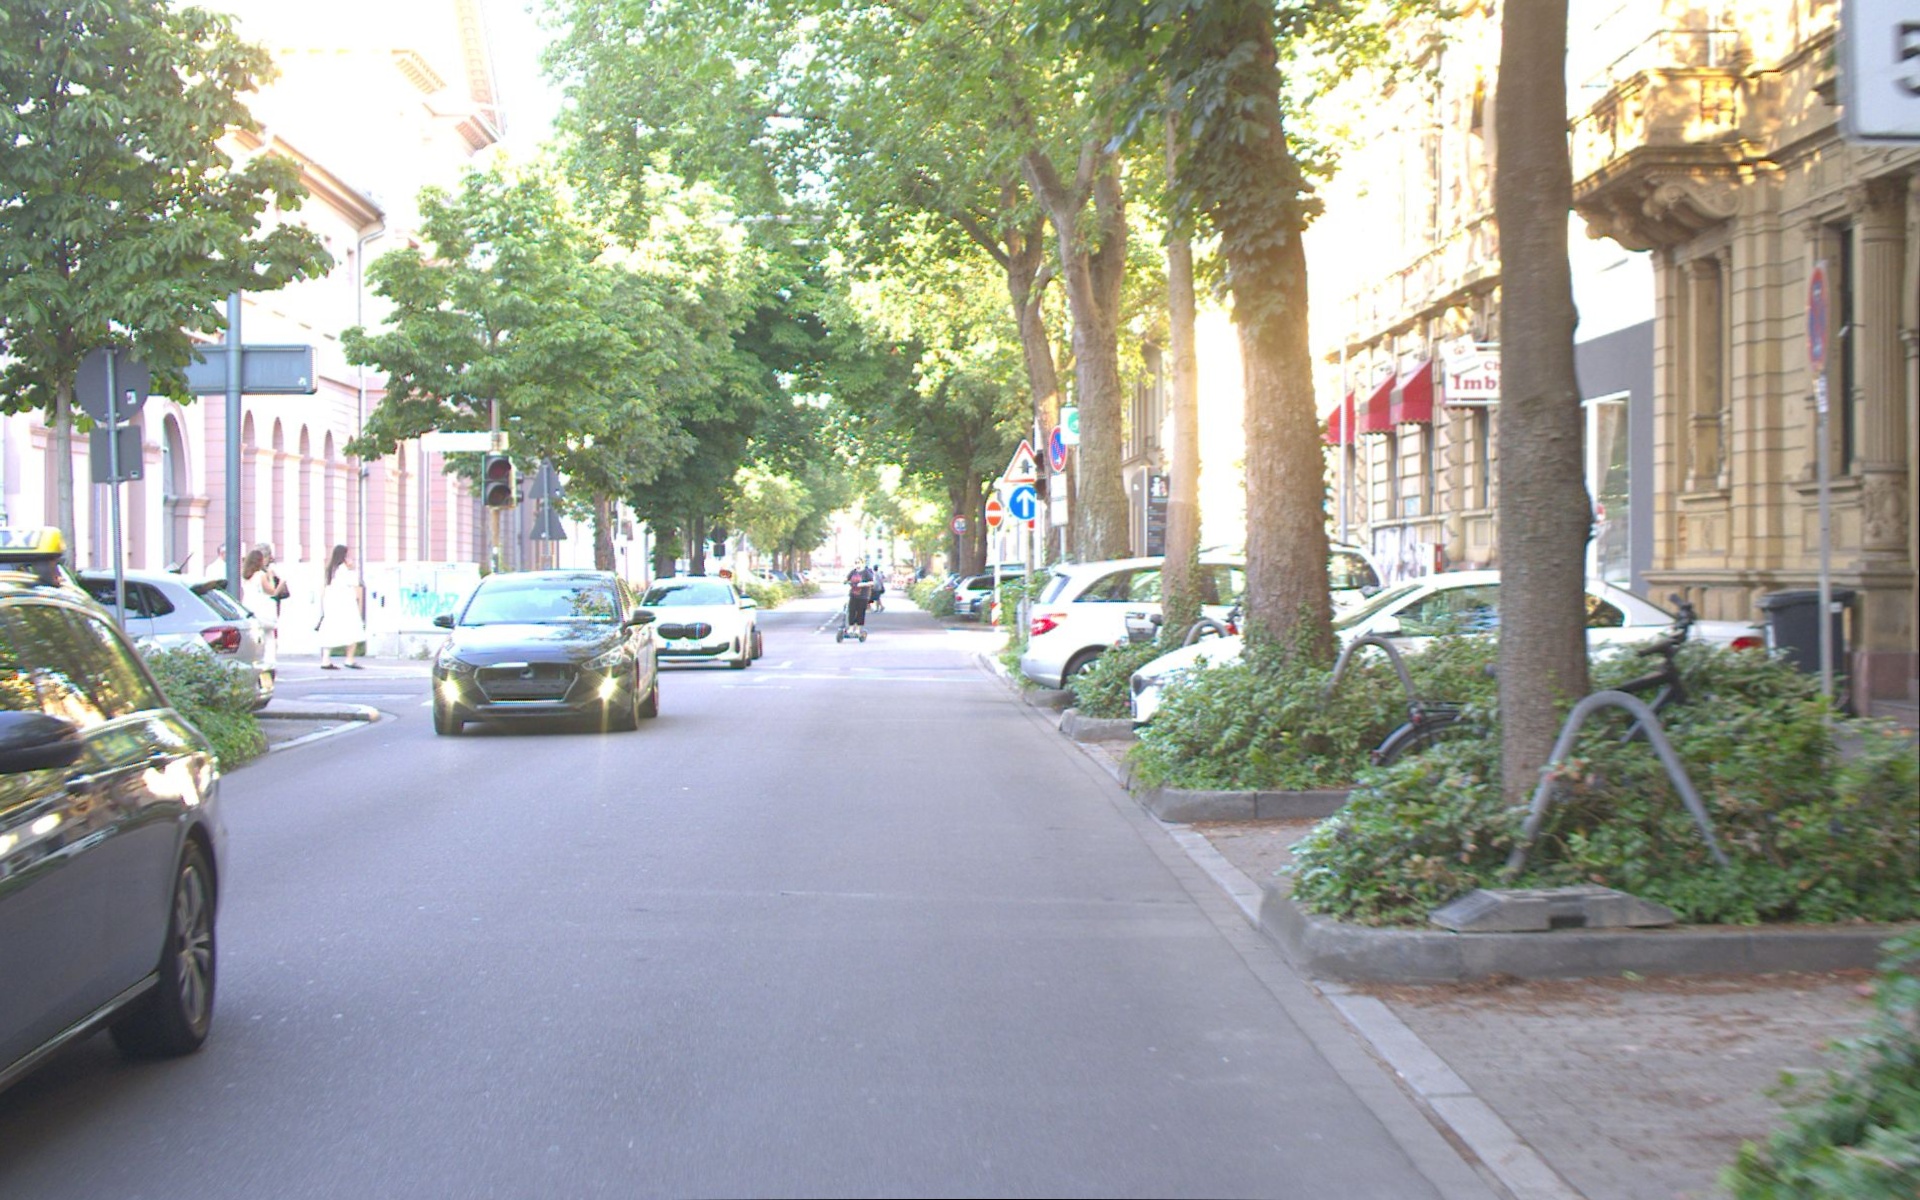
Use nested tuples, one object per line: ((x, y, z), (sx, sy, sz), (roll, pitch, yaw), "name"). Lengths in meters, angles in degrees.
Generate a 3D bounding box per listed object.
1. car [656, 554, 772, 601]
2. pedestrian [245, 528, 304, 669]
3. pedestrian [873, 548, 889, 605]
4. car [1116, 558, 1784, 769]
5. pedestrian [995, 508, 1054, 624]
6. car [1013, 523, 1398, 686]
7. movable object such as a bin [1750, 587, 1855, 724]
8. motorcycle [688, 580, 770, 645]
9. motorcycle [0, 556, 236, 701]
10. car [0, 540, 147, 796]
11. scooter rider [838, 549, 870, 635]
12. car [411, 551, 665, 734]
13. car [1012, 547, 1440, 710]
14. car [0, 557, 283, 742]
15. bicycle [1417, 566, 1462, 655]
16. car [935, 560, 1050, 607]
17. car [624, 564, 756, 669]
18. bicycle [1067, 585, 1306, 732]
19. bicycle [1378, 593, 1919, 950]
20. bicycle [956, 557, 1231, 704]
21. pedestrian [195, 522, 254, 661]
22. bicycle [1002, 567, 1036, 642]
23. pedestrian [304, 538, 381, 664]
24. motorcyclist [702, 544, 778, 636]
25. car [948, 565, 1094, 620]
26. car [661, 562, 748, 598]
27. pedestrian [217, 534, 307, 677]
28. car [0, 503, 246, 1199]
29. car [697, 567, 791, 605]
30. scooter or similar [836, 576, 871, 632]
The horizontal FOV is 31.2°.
((-11.084, -1.011, 155.129), (5.064, 2.076, 2.263), (-1, 1, -1), "car")
((-9.120, -0.024, 45.757), (0.554, 1.844, 0.611), (1, 2, 13), "pedestrian")
((-2.775, -0.828, 121.304), (0.502, 2.007, 0.621), (1, 0, 0), "pedestrian")
((3.456, 0.434, 24.925), (4.583, 1.432, 1.925), (0, 1, 1), "car")
((1.206, -0.635, 64.806), (1.043, 2.139, 1.063), (1, 0, -1), "pedestrian")
((3.009, 0.037, 42.810), (4.539, 1.908, 1.950), (-1, 1, -3), "car")
((6.720, 0.437, 27.445), (0.657, 1.060, 0.615), (-1, 0, -1), "movable object such as a bin")
((-4.029, 0.211, 60.229), (1.312, 1.086, 2.396), (0, 1, -1), "motorcycle")
((-8.458, 0.285, 34.494), (2.150, 1.414, 0.967), (-1, 0, 20), "motorcycle")
((-7.705, 0.394, 22.912), (4.093, 1.626, 1.936), (1, 1, 0), "car")
((-2.213, -0.171, 71.768), (0.494, 1.785, 0.874), (0, 0, 9), "scooter rider")
((-3.812, 0.343, 31.697), (1.877, 1.543, 4.275), (-1, 1, -1), "car")
((2.680, 0.269, 35.194), (4.225, 1.555, 1.971), (-1, 1, 2), "car")
((-7.804, 0.382, 29.260), (3.741, 1.453, 1.735), (2, 1, -2), "car")
((6.646, 0.132, 47.690), (0.385, 1.207, 1.725), (-1, 0, 1), "bicycle")
((1.139, -0.584, 122.480), (4.014, 1.617, 1.781), (-1, 1, -2), "car")
((-4.175, 0.232, 53.669), (1.877, 1.543, 4.275), (-1, 1, -2), "car")
((2.007, 0.508, 30.444), (2.019, 1.200, 0.488), (-2, 0, -13), "bicycle")
((2.754, 0.679, 13.811), (2.046, 1.356, 0.508), (1, 1, -3), "bicycle")
((1.547, 0.351, 39.981), (3.112, 1.657, 0.658), (1, 0, -5), "bicycle")
((-9.810, -0.119, 45.833), (0.554, 1.844, 0.611), (0, 0, 14), "pedestrian")
((1.097, 0.073, 63.626), (0.417, 1.367, 1.288), (-1, 0, 10), "bicycle")
((-8.634, 0.019, 48.092), (0.842, 1.732, 0.777), (1, 0, -27), "pedestrian")
((-3.837, -0.180, 60.089), (1.280, 1.586, 1.077), (0, 0, -1), "motorcyclist")
((1.779, -0.229, 101.387), (4.192, 1.475, 1.852), (-2, 1, -1), "car")
((-11.133, -0.882, 149.734), (3.725, 1.503, 1.873), (-1, 1, -4), "car")
((-8.975, 0.069, 44.219), (0.769, 1.785, 0.793), (1, 2, -42), "pedestrian")
((-3.165, 0.599, 8.737), (1.877, 1.635, 4.646), (-1, 1, -2), "car")
((-11.997, -0.780, 191.448), (5.064, 2.076, 2.263), (-1, 1, 0), "car")
((-2.220, 0.083, 71.727), (0.502, 1.141, 1.249), (0, 0, 9), "scooter or similar")
